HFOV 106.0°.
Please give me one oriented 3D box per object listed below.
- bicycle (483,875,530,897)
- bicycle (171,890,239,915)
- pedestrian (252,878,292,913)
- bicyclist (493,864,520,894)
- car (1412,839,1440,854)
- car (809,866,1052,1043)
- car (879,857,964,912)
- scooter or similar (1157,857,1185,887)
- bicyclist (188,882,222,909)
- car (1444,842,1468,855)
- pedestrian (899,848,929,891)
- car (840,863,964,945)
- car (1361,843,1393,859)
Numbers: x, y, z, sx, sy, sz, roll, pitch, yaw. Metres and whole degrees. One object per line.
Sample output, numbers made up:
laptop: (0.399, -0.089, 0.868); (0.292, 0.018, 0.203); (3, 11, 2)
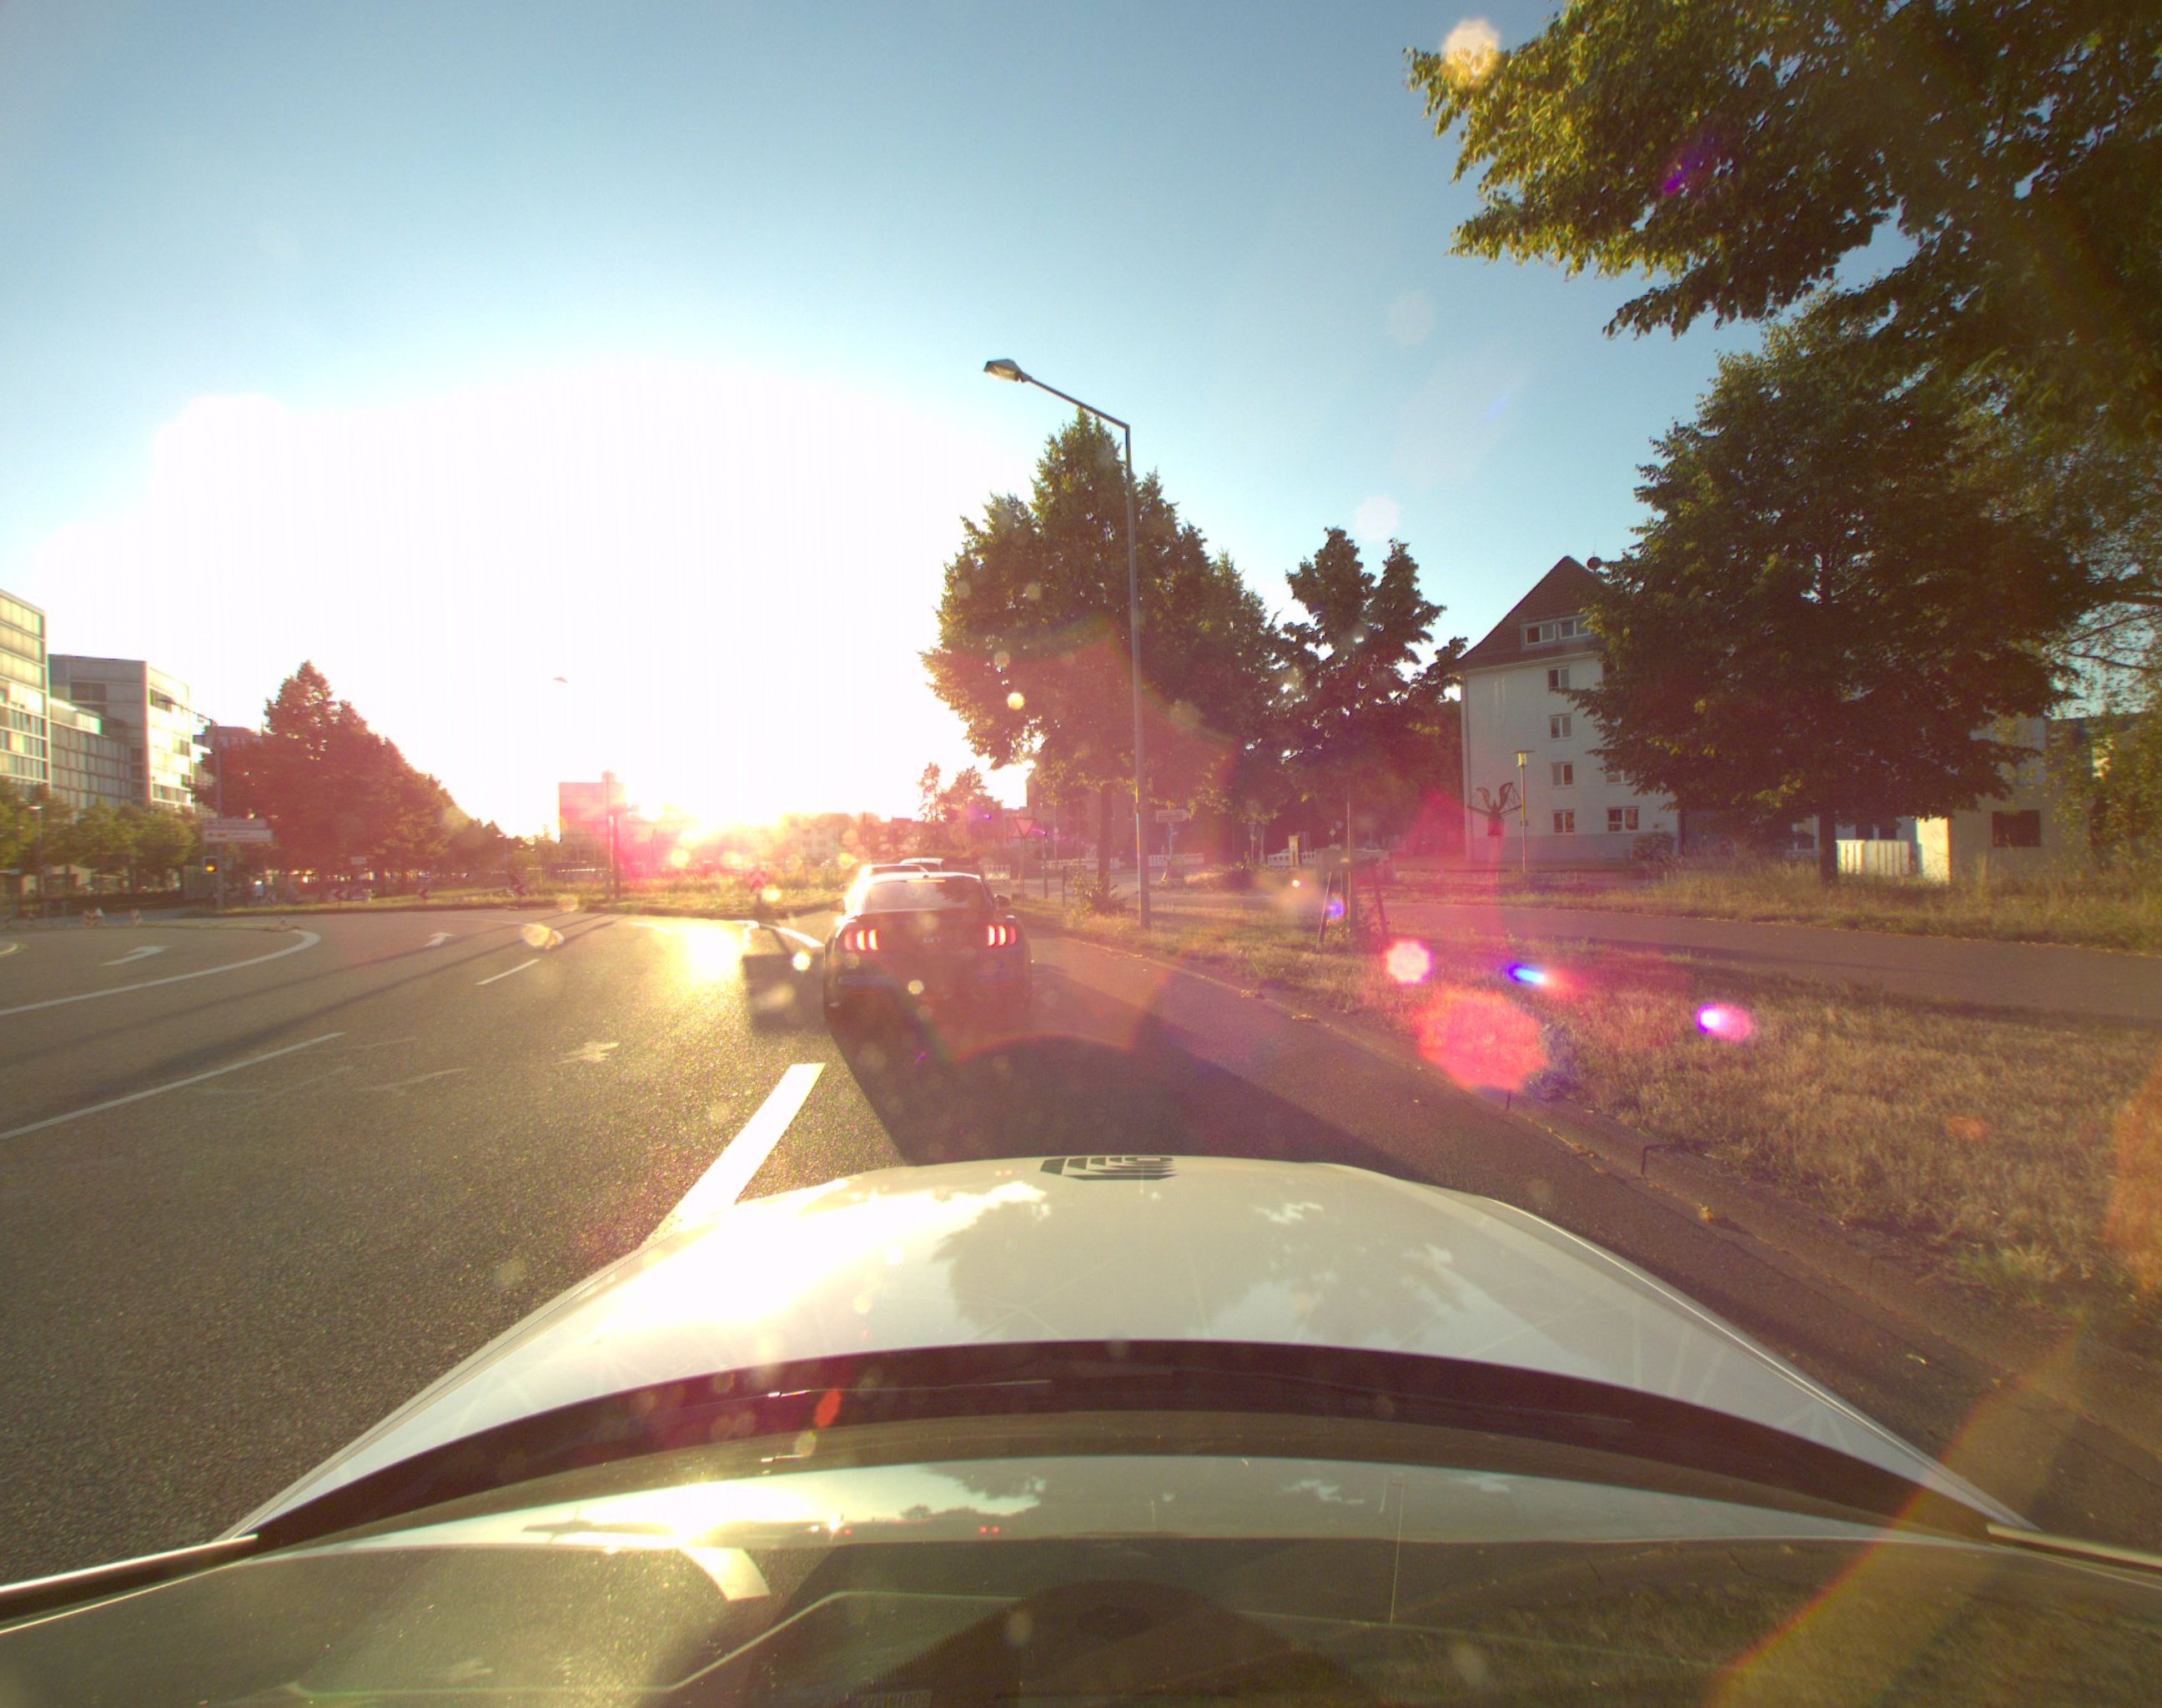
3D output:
bicycle: (-32.073, 1.771, 45.457); (2.383, 1.167, 0.758); (-2, 0, 16)
bicycle: (-46.936, 2.578, 43.645); (2.406, 1.167, 0.750); (-2, 0, -16)
pedestrian: (-44.159, 2.238, 44.479); (1.158, 1.827, 0.976); (-2, 0, -11)
bicyclist: (-32.067, 1.404, 45.442); (0.967, 1.612, 0.758); (-2, 0, 16)
car: (39.924, -0.878, 94.179); (1.932, 1.602, 4.103); (-1, 0, 39)
car: (-1.772, 0.828, 8.971); (1.954, 1.342, 4.647); (-1, 0, -14)
car: (-5.121, 0.927, 26.726); (1.945, 1.602, 4.076); (-2, 0, 0)
scooter or similar: (3.909, 0.778, 35.495); (1.121, 1.238, 0.440); (-1, 0, -14)
bicyclist: (-46.930, 2.209, 43.633); (0.977, 1.394, 0.750); (-2, 0, -16)
car: (48.609, -0.707, 105.544); (1.932, 1.602, 4.103); (-1, 0, 39)
pedestrian: (-6.809, 0.628, 33.159); (0.851, 1.686, 0.876); (-2, 0, -41)
car: (-3.795, 0.903, 16.634); (1.957, 1.427, 4.400); (1, -1, -19)
car: (29.559, -0.304, 81.254); (1.932, 1.602, 4.103); (-1, 0, 37)
